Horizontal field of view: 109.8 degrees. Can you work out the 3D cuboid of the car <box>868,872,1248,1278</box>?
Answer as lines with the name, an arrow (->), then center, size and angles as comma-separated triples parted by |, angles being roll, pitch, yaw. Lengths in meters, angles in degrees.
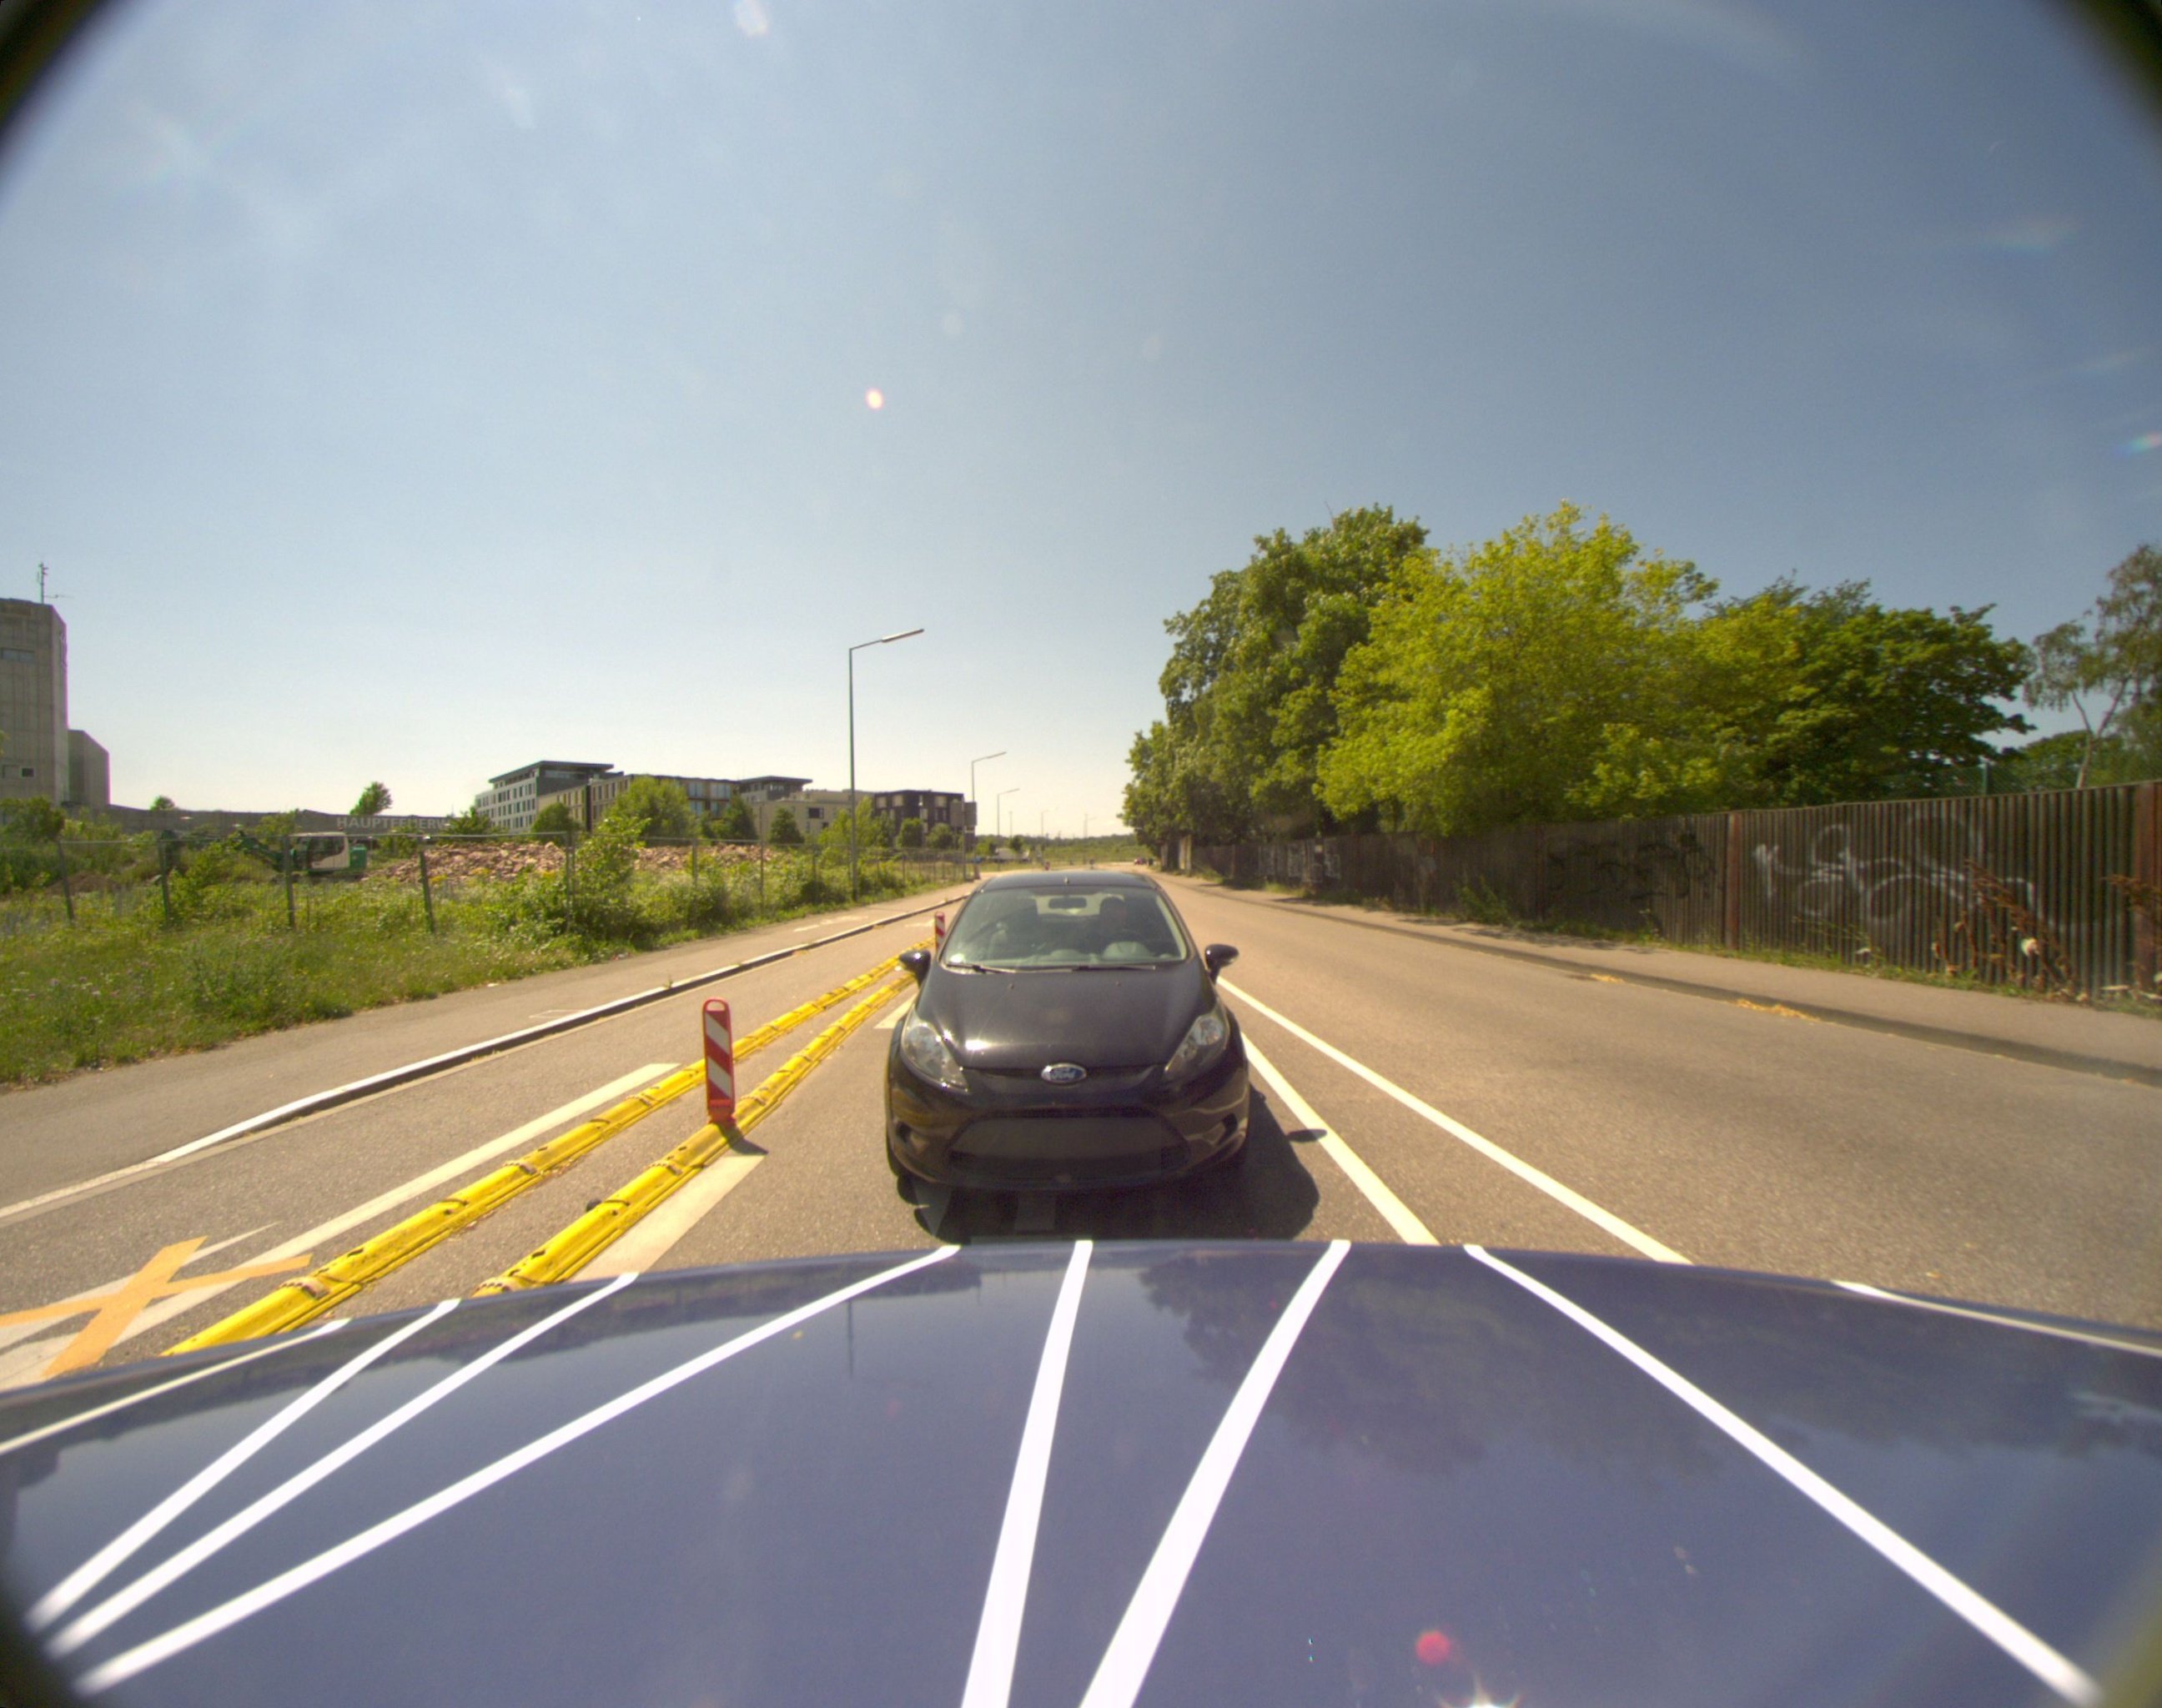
car -> -0.069, 0.978, 5.171 | 1.528, 1.510, 3.999 | -2, 1, 1

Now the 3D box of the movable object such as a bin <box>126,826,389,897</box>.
movable object such as a bin -> -38.353, 0.273, 35.928 | 3.231, 2.899, 7.702 | -2, 1, 15

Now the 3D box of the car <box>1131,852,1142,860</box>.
car -> 11.182, 0.401, 152.912 | 1.924, 1.643, 4.668 | -2, 1, 1
